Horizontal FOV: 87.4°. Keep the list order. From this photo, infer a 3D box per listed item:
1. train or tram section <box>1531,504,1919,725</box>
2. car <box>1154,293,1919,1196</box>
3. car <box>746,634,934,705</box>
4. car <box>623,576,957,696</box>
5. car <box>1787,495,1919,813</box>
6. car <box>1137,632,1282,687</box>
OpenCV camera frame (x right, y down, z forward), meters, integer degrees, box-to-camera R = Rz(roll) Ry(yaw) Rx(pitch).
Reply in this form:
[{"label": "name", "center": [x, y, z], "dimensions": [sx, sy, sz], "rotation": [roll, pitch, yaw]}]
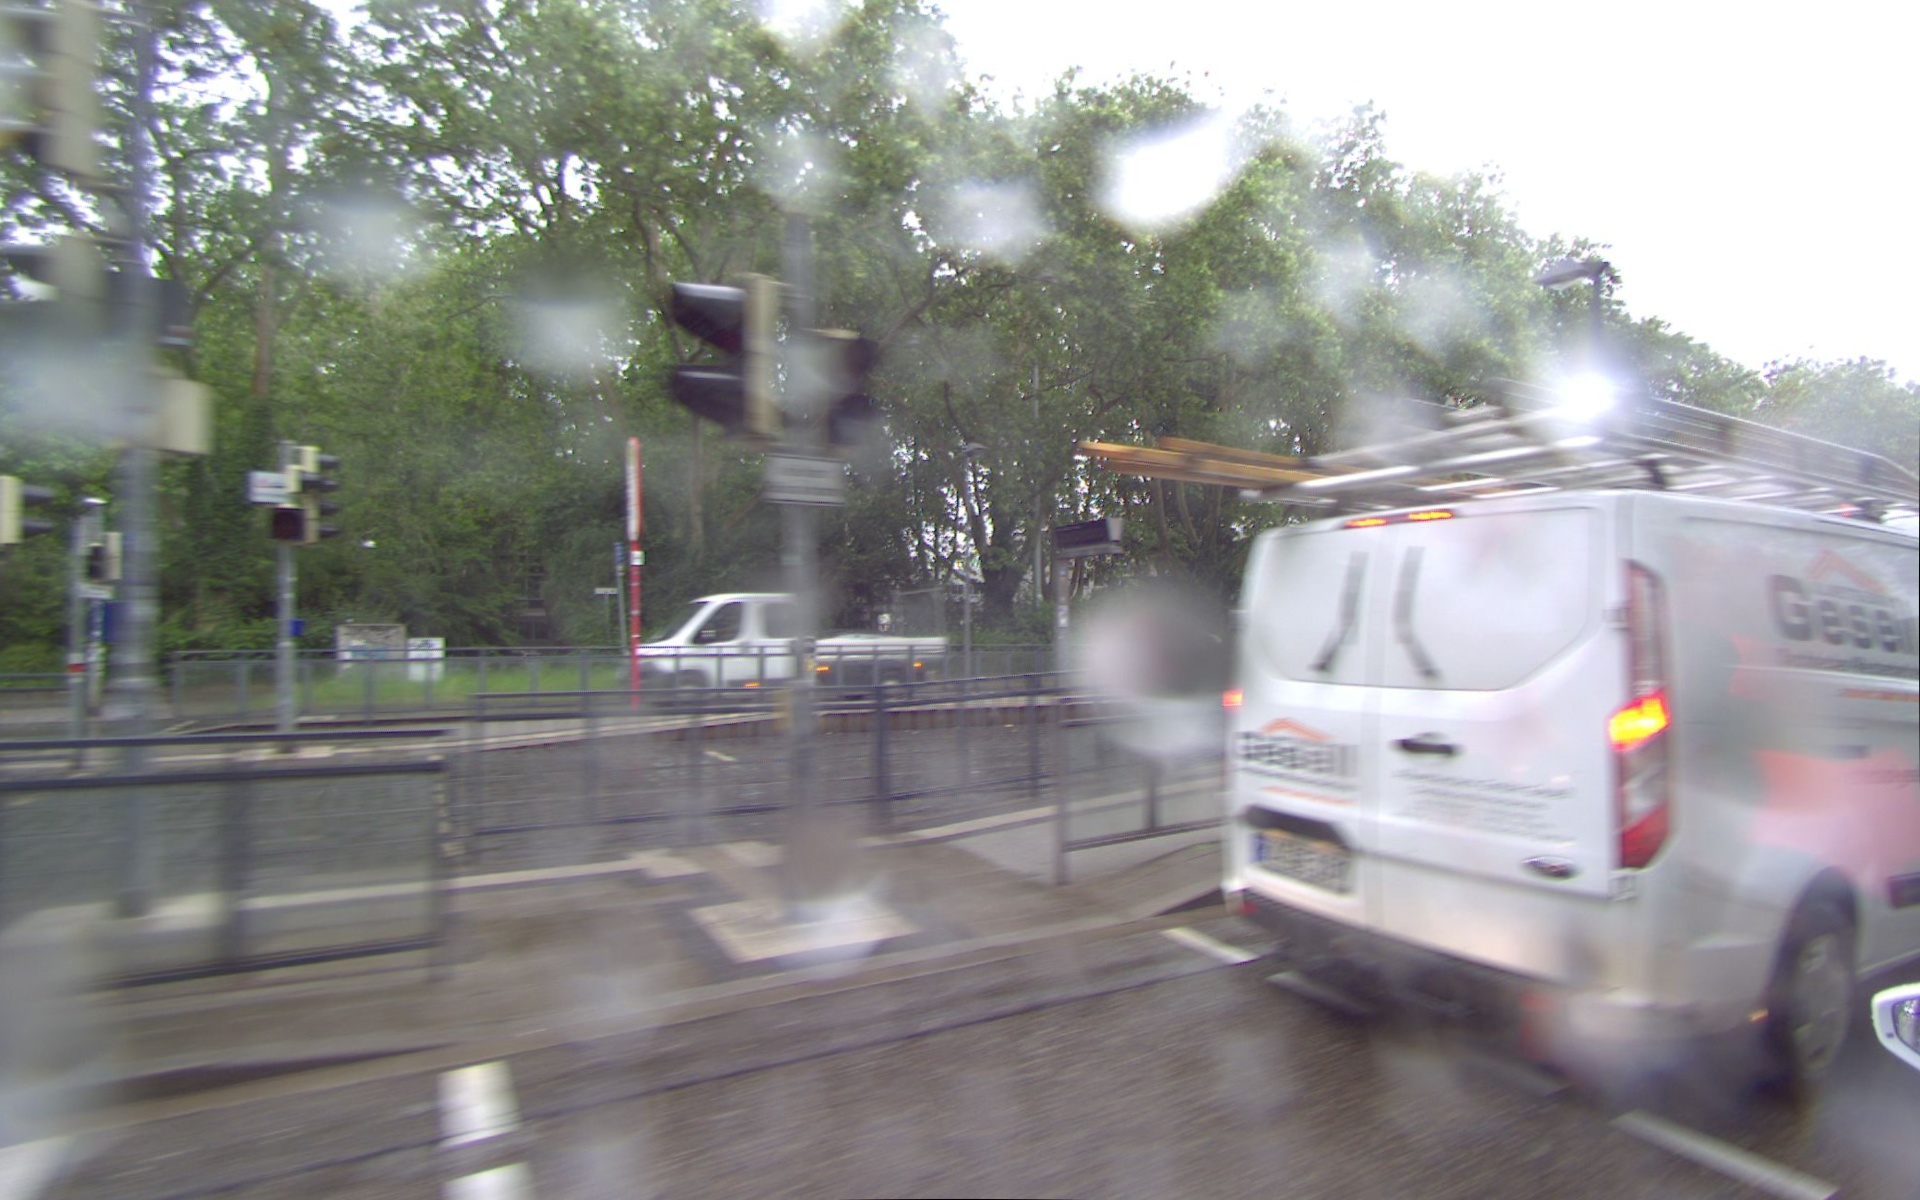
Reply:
[{"label": "train or tram section", "center": [14.370, 0.318, 18.583], "dimensions": [8.264, 3.329, 2.947], "rotation": [1, -2, -31]}, {"label": "car", "center": [3.592, 0.471, 4.742], "dimensions": [5.227, 2.292, 1.984], "rotation": [3, -2, -30]}, {"label": "car", "center": [-2.808, 1.595, 23.645], "dimensions": [3.952, 1.537, 1.985], "rotation": [2, -3, -30]}, {"label": "car", "center": [-3.217, 0.714, 19.573], "dimensions": [6.043, 2.040, 2.174], "rotation": [2, -2, -30]}, {"label": "car", "center": [10.554, 0.555, 9.460], "dimensions": [6.043, 2.591, 2.319], "rotation": [3, -2, -30]}, {"label": "car", "center": [7.387, 1.741, 29.743], "dimensions": [3.952, 1.537, 1.925], "rotation": [2, -3, -30]}]
